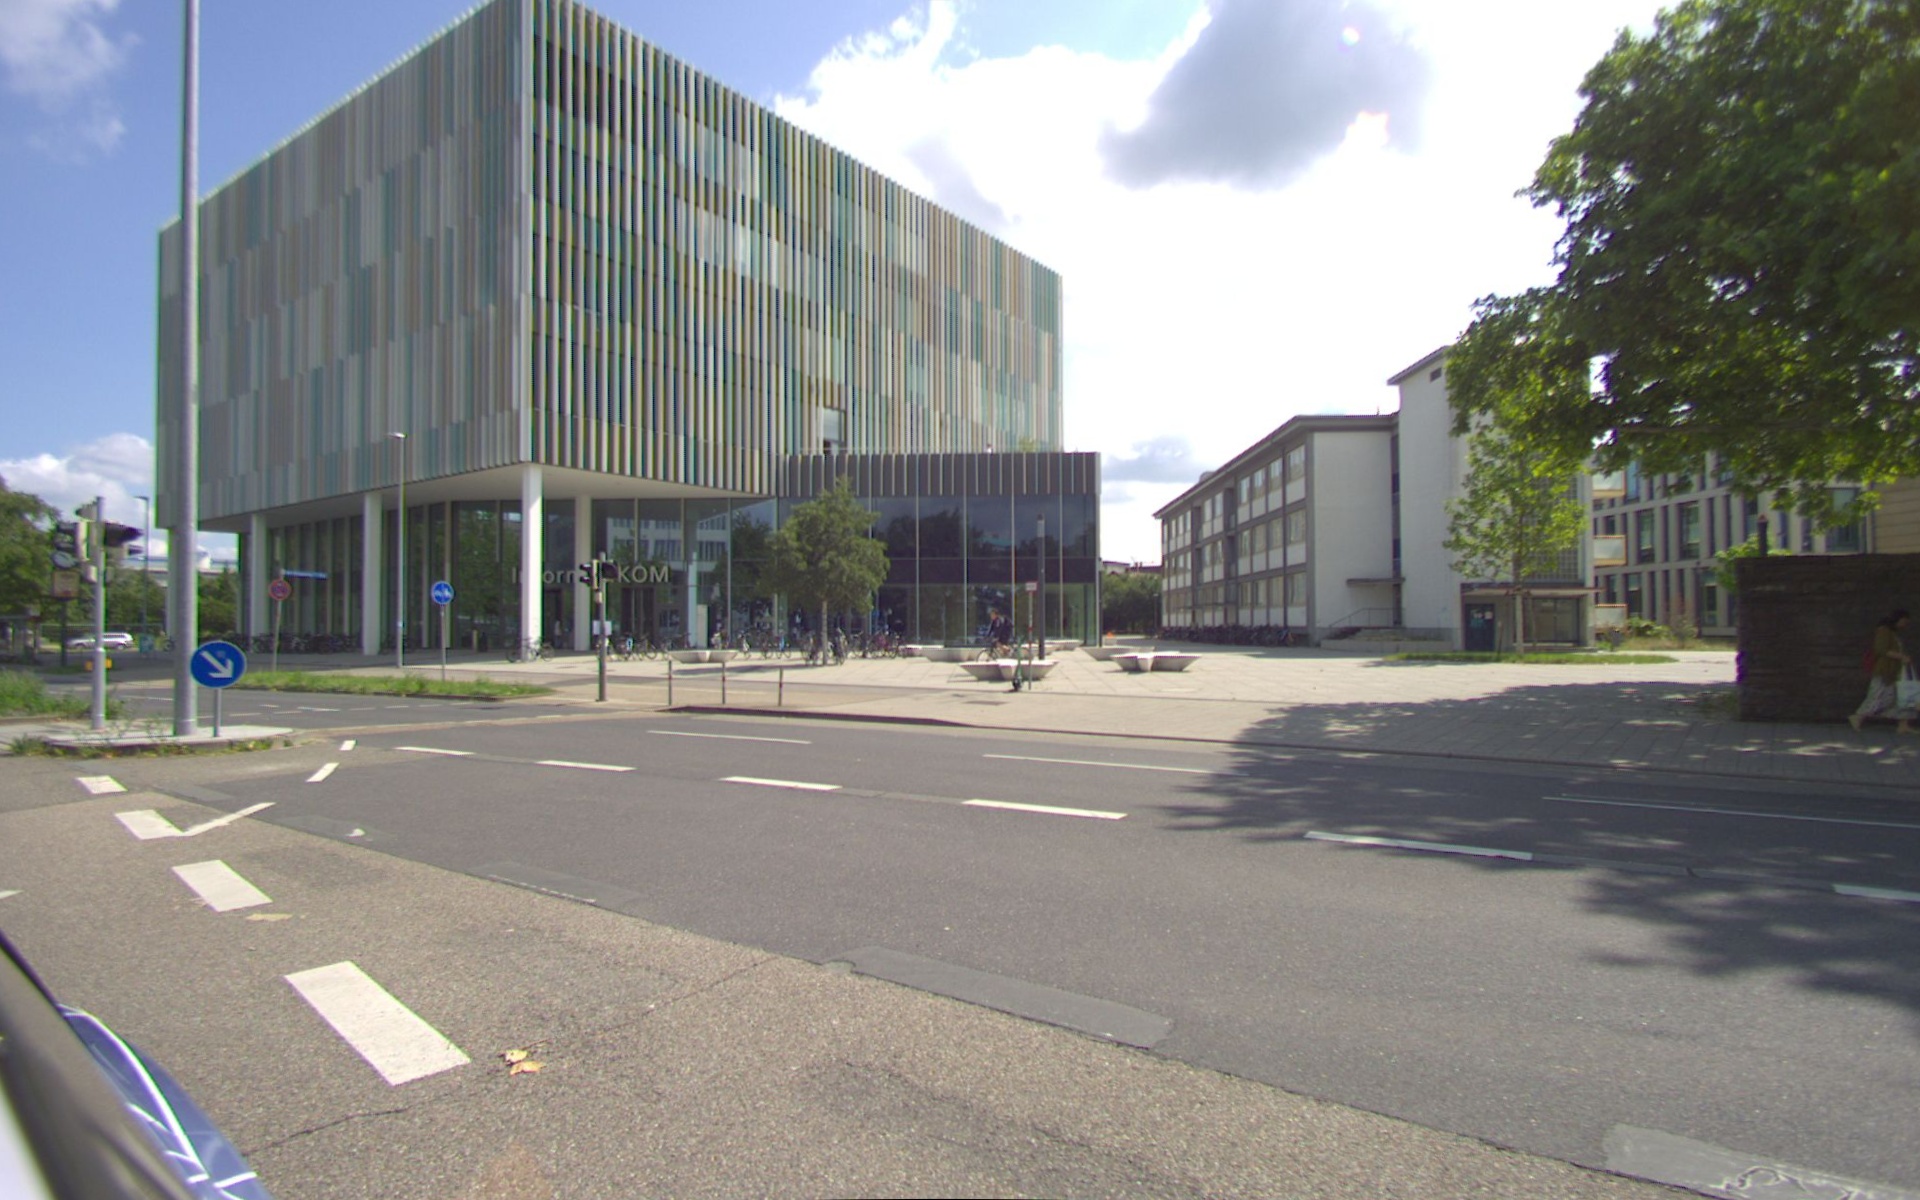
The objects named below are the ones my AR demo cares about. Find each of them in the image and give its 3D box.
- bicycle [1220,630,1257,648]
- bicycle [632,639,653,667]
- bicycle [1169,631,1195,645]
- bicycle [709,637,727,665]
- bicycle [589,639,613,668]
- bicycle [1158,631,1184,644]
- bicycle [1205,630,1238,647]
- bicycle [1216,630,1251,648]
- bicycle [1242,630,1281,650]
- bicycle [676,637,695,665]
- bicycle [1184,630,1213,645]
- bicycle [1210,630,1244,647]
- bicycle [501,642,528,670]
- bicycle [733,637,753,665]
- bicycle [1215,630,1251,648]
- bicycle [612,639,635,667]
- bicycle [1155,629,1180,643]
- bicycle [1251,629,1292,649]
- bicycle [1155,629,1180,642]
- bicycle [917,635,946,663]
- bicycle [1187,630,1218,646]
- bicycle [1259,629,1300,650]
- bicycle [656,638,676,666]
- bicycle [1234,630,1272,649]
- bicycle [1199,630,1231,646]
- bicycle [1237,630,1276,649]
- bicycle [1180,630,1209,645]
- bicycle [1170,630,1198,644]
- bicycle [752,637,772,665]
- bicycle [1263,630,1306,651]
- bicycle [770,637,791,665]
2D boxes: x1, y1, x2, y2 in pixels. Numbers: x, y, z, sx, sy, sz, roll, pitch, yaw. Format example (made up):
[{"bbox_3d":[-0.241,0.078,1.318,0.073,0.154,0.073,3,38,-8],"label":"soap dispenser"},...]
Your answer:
[{"bbox_3d":[15.782,2.204,57.355,1.888,1.022,0.695,-1,-2,7],"label":"bicycle"},{"bbox_3d":[-13.228,2.182,42.163,0.710,1.105,2.224,0,-2,-14],"label":"bicycle"},{"bbox_3d":[16.905,2.865,77.079,1.888,1.022,0.695,-1,-2,7],"label":"bicycle"},{"bbox_3d":[-9.979,2.083,41.701,0.710,1.105,2.224,0,-2,-14],"label":"bicycle"},{"bbox_3d":[-14.883,2.203,41.977,0.710,1.105,2.224,0,-2,-14],"label":"bicycle"},{"bbox_3d":[16.382,2.924,78.495,1.888,1.022,0.695,-1,-2,7],"label":"bicycle"},{"bbox_3d":[16.356,2.388,63.235,1.888,1.022,0.695,-1,-2,7],"label":"bicycle"},{"bbox_3d":[16.412,2.328,60.732,1.888,1.022,0.695,-1,-2,7],"label":"bicycle"},{"bbox_3d":[15.959,2.133,53.603,1.888,1.022,0.695,-1,-2,7],"label":"bicycle"},{"bbox_3d":[-11.396,2.103,42.040,0.710,1.105,2.224,0,-2,-14],"label":"bicycle"},{"bbox_3d":[16.317,2.551,69.249,1.888,1.022,0.695,-1,-2,7],"label":"bicycle"},{"bbox_3d":[16.319,2.365,61.922,1.888,1.022,0.695,-1,-2,7],"label":"bicycle"},{"bbox_3d":[-18.116,2.282,41.149,0.540,1.105,1.636,1,-2,-41],"label":"bicycle"},{"bbox_3d":[-8.980,2.102,41.830,0.710,1.105,2.224,0,-2,-14],"label":"bicycle"},{"bbox_3d":[15.798,2.263,58.514,1.888,1.022,0.695,-1,-2,7],"label":"bicycle"},{"bbox_3d":[-13.984,2.190,42.103,0.710,1.105,2.224,0,-2,-14],"label":"bicycle"},{"bbox_3d":[16.413,2.850,79.961,1.888,1.022,0.695,-1,-2,7],"label":"bicycle"},{"bbox_3d":[16.070,2.009,52.246,1.888,1.022,0.695,-1,-2,7],"label":"bicycle"},{"bbox_3d":[16.669,2.826,81.178,1.888,1.022,0.695,-1,-2,7],"label":"bicycle"},{"bbox_3d":[-1.184,1.996,41.842,0.710,1.105,2.224,0,-2,-14],"label":"bicycle"},{"bbox_3d":[16.236,2.541,67.721,1.888,1.022,0.695,-1,-2,7],"label":"bicycle"},{"bbox_3d":[16.144,1.978,51.182,1.888,1.022,0.695,-1,-2,7],"label":"bicycle"},{"bbox_3d":[-12.103,2.132,41.711,0.710,1.105,2.224,0,-2,-14],"label":"bicycle"},{"bbox_3d":[16.134,2.149,55.769,1.888,1.022,0.695,-1,-2,7],"label":"bicycle"},{"bbox_3d":[16.206,2.409,64.307,1.888,1.022,0.695,-1,-2,7],"label":"bicycle"},{"bbox_3d":[16.025,2.135,54.731,1.888,1.022,0.695,-1,-2,7],"label":"bicycle"},{"bbox_3d":[16.343,2.597,70.470,1.888,1.022,0.695,-1,-2,7],"label":"bicycle"},{"bbox_3d":[16.623,2.755,75.121,1.888,1.022,0.695,-1,-2,7],"label":"bicycle"},{"bbox_3d":[-8.204,2.106,41.895,0.710,1.105,2.224,0,-2,-14],"label":"bicycle"},{"bbox_3d":[16.044,1.991,50.032,1.888,1.022,0.695,-1,-2,7],"label":"bicycle"},{"bbox_3d":[-7.476,2.091,42.080,0.710,1.105,2.224,0,-2,-14],"label":"bicycle"}]
